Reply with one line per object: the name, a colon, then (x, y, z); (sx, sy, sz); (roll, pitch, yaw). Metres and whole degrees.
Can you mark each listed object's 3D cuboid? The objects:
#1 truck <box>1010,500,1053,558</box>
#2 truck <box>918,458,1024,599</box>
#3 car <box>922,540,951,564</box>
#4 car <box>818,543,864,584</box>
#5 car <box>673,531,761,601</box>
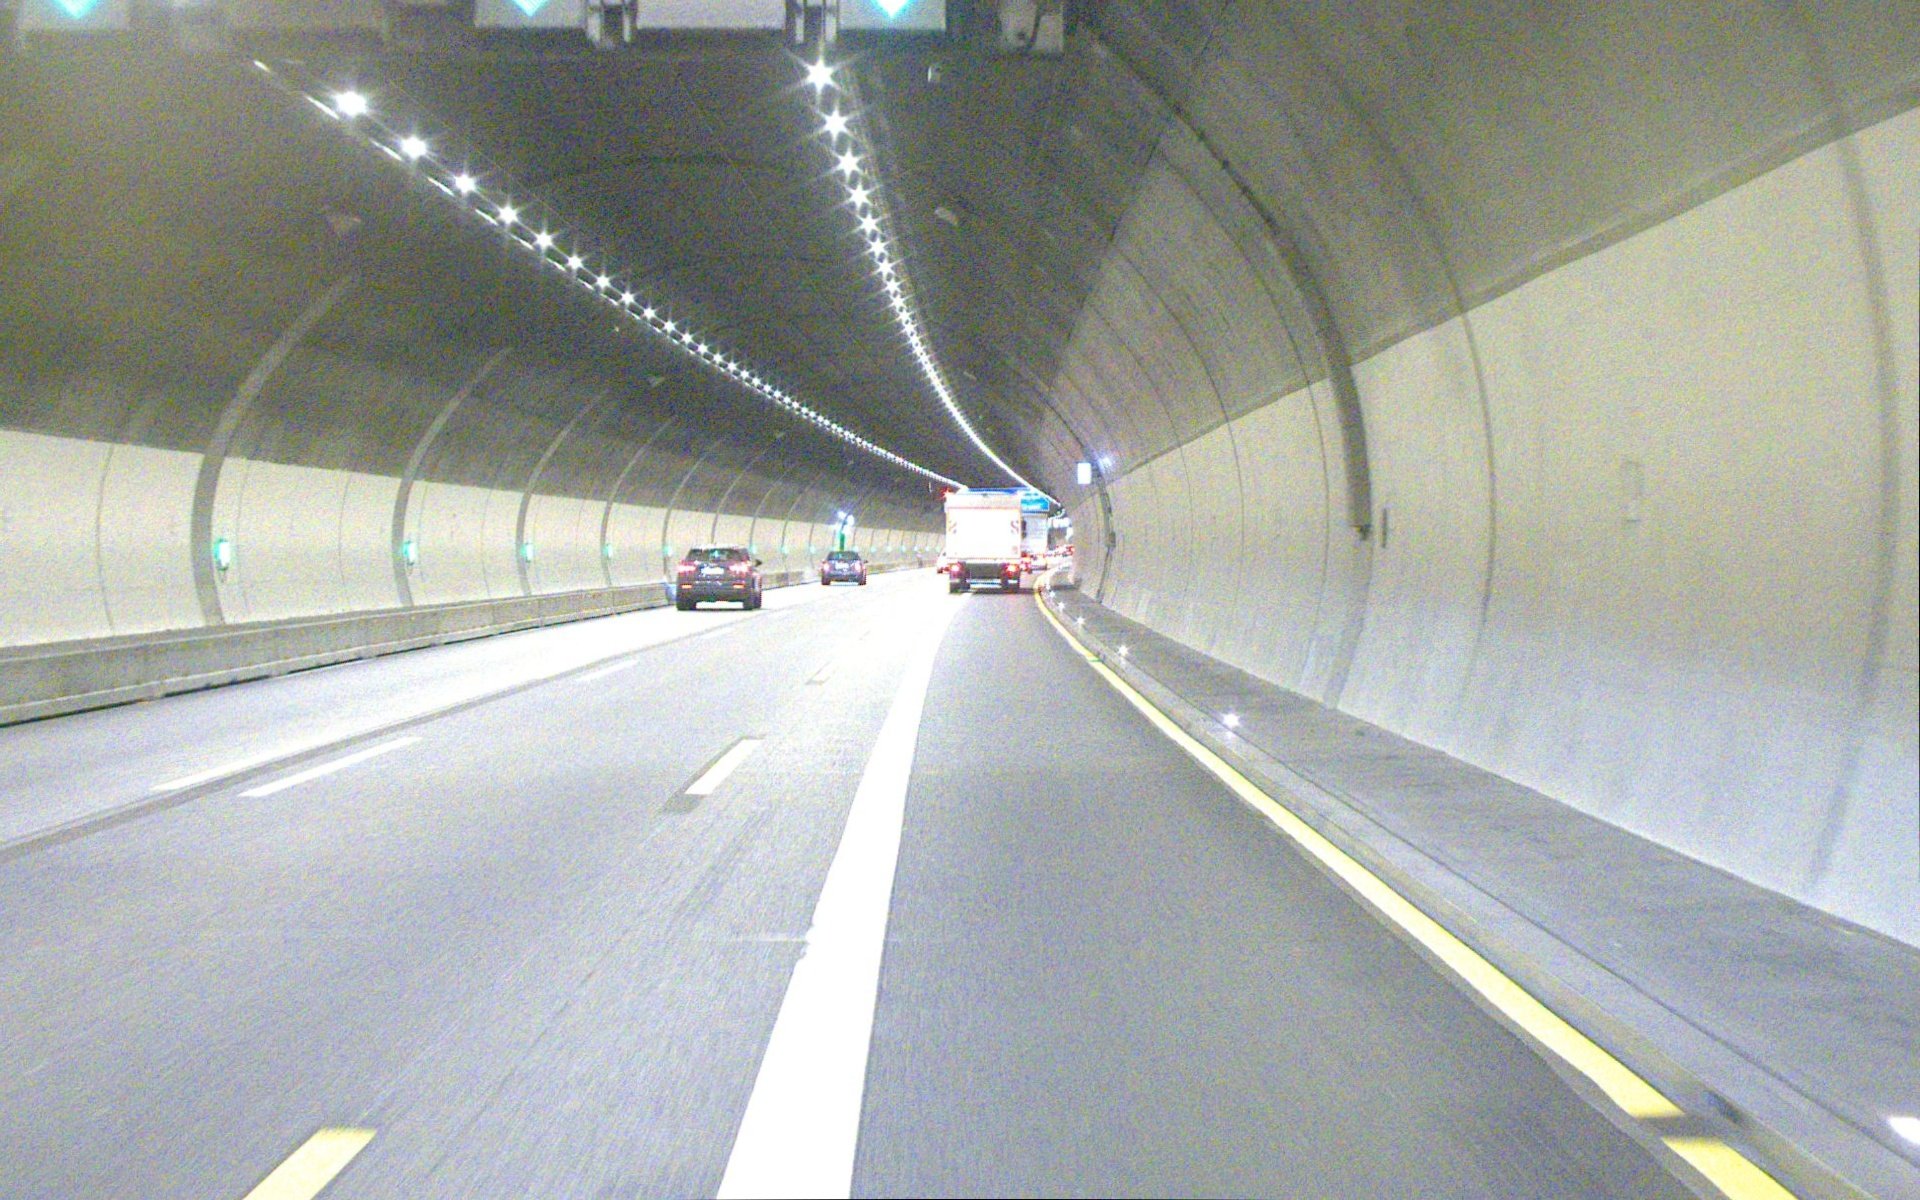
truck: (5.131, -5.100, 247.925); (2.923, 4.034, 14.030); (-1, 1, 1)
truck: (0.258, -2.558, 123.597); (3.278, 4.634, 17.288); (-1, 1, -1)
car: (-1.372, -2.857, 203.347); (1.650, 1.270, 4.001); (0, 3, -1)
car: (-4.792, -1.481, 138.764); (1.812, 1.514, 4.001); (0, 3, -1)
car: (-5.779, -0.835, 82.170); (1.812, 1.612, 4.000); (0, 1, 0)
